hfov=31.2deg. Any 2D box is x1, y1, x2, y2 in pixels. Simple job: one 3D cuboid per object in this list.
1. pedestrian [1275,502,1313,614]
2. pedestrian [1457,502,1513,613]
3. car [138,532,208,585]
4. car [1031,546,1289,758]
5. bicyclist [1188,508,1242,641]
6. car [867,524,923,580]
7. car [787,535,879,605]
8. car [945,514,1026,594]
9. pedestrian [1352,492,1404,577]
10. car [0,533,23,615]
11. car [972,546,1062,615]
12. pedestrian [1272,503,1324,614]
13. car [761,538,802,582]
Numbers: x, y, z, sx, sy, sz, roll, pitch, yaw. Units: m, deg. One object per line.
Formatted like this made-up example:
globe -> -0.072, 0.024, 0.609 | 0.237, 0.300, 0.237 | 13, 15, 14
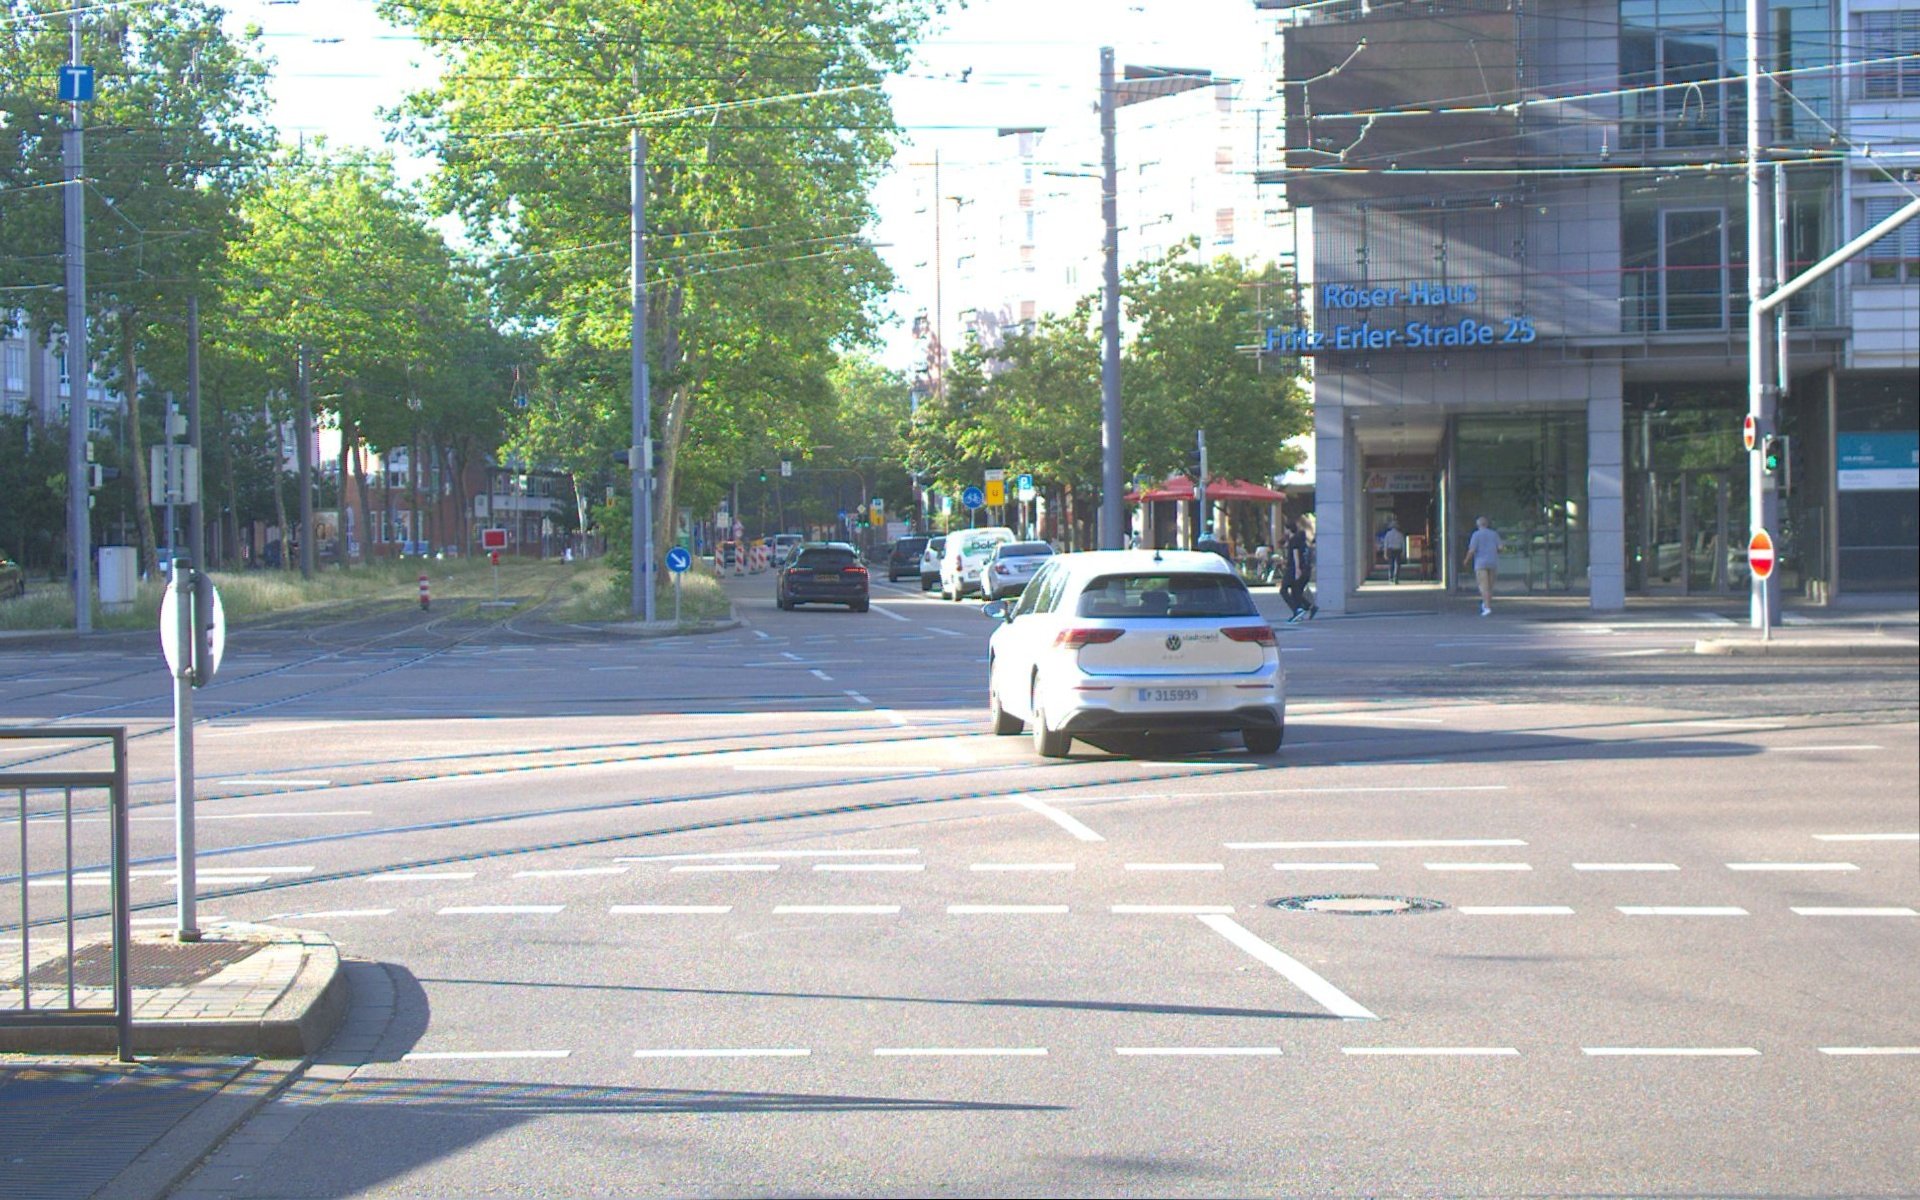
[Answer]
pedestrian -> 6.050, -0.766, 62.312 | 0.586, 2.007, 0.620 | 1, 0, 0
pedestrian -> 9.619, -0.777, 63.019 | 0.869, 2.007, 0.794 | 1, -1, -1
car -> -24.361, -1.276, 106.507 | 1.676, 1.601, 4.001 | 1, 1, -6
car -> 1.414, 0.323, 25.436 | 1.748, 1.413, 4.000 | 0, 1, 1
bicyclist -> 2.806, -0.286, 37.860 | 0.486, 1.434, 0.615 | 2, 2, -1
car -> -2.369, -1.760, 126.736 | 1.993, 2.007, 4.000 | 1, 1, -1
car -> -2.680, -0.647, 71.966 | 1.763, 1.399, 4.297 | 0, 1, -4
car -> 0.646, -1.202, 89.628 | 1.993, 2.007, 4.000 | 1, 1, -1
pedestrian -> 10.928, -1.706, 89.934 | 1.313, 2.182, 1.170 | 1, 0, 6
car -> -21.706, -0.565, 75.033 | 1.822, 1.784, 4.001 | -1, 1, -7
car -> 1.345, -0.485, 82.636 | 2.029, 1.590, 4.000 | 1, 1, -1
pedestrian -> 6.181, -0.751, 62.890 | 0.849, 2.007, 0.708 | 1, 0, -1
car -> -9.894, -2.228, 191.002 | 1.993, 2.007, 3.999 | 1, -5, 1
